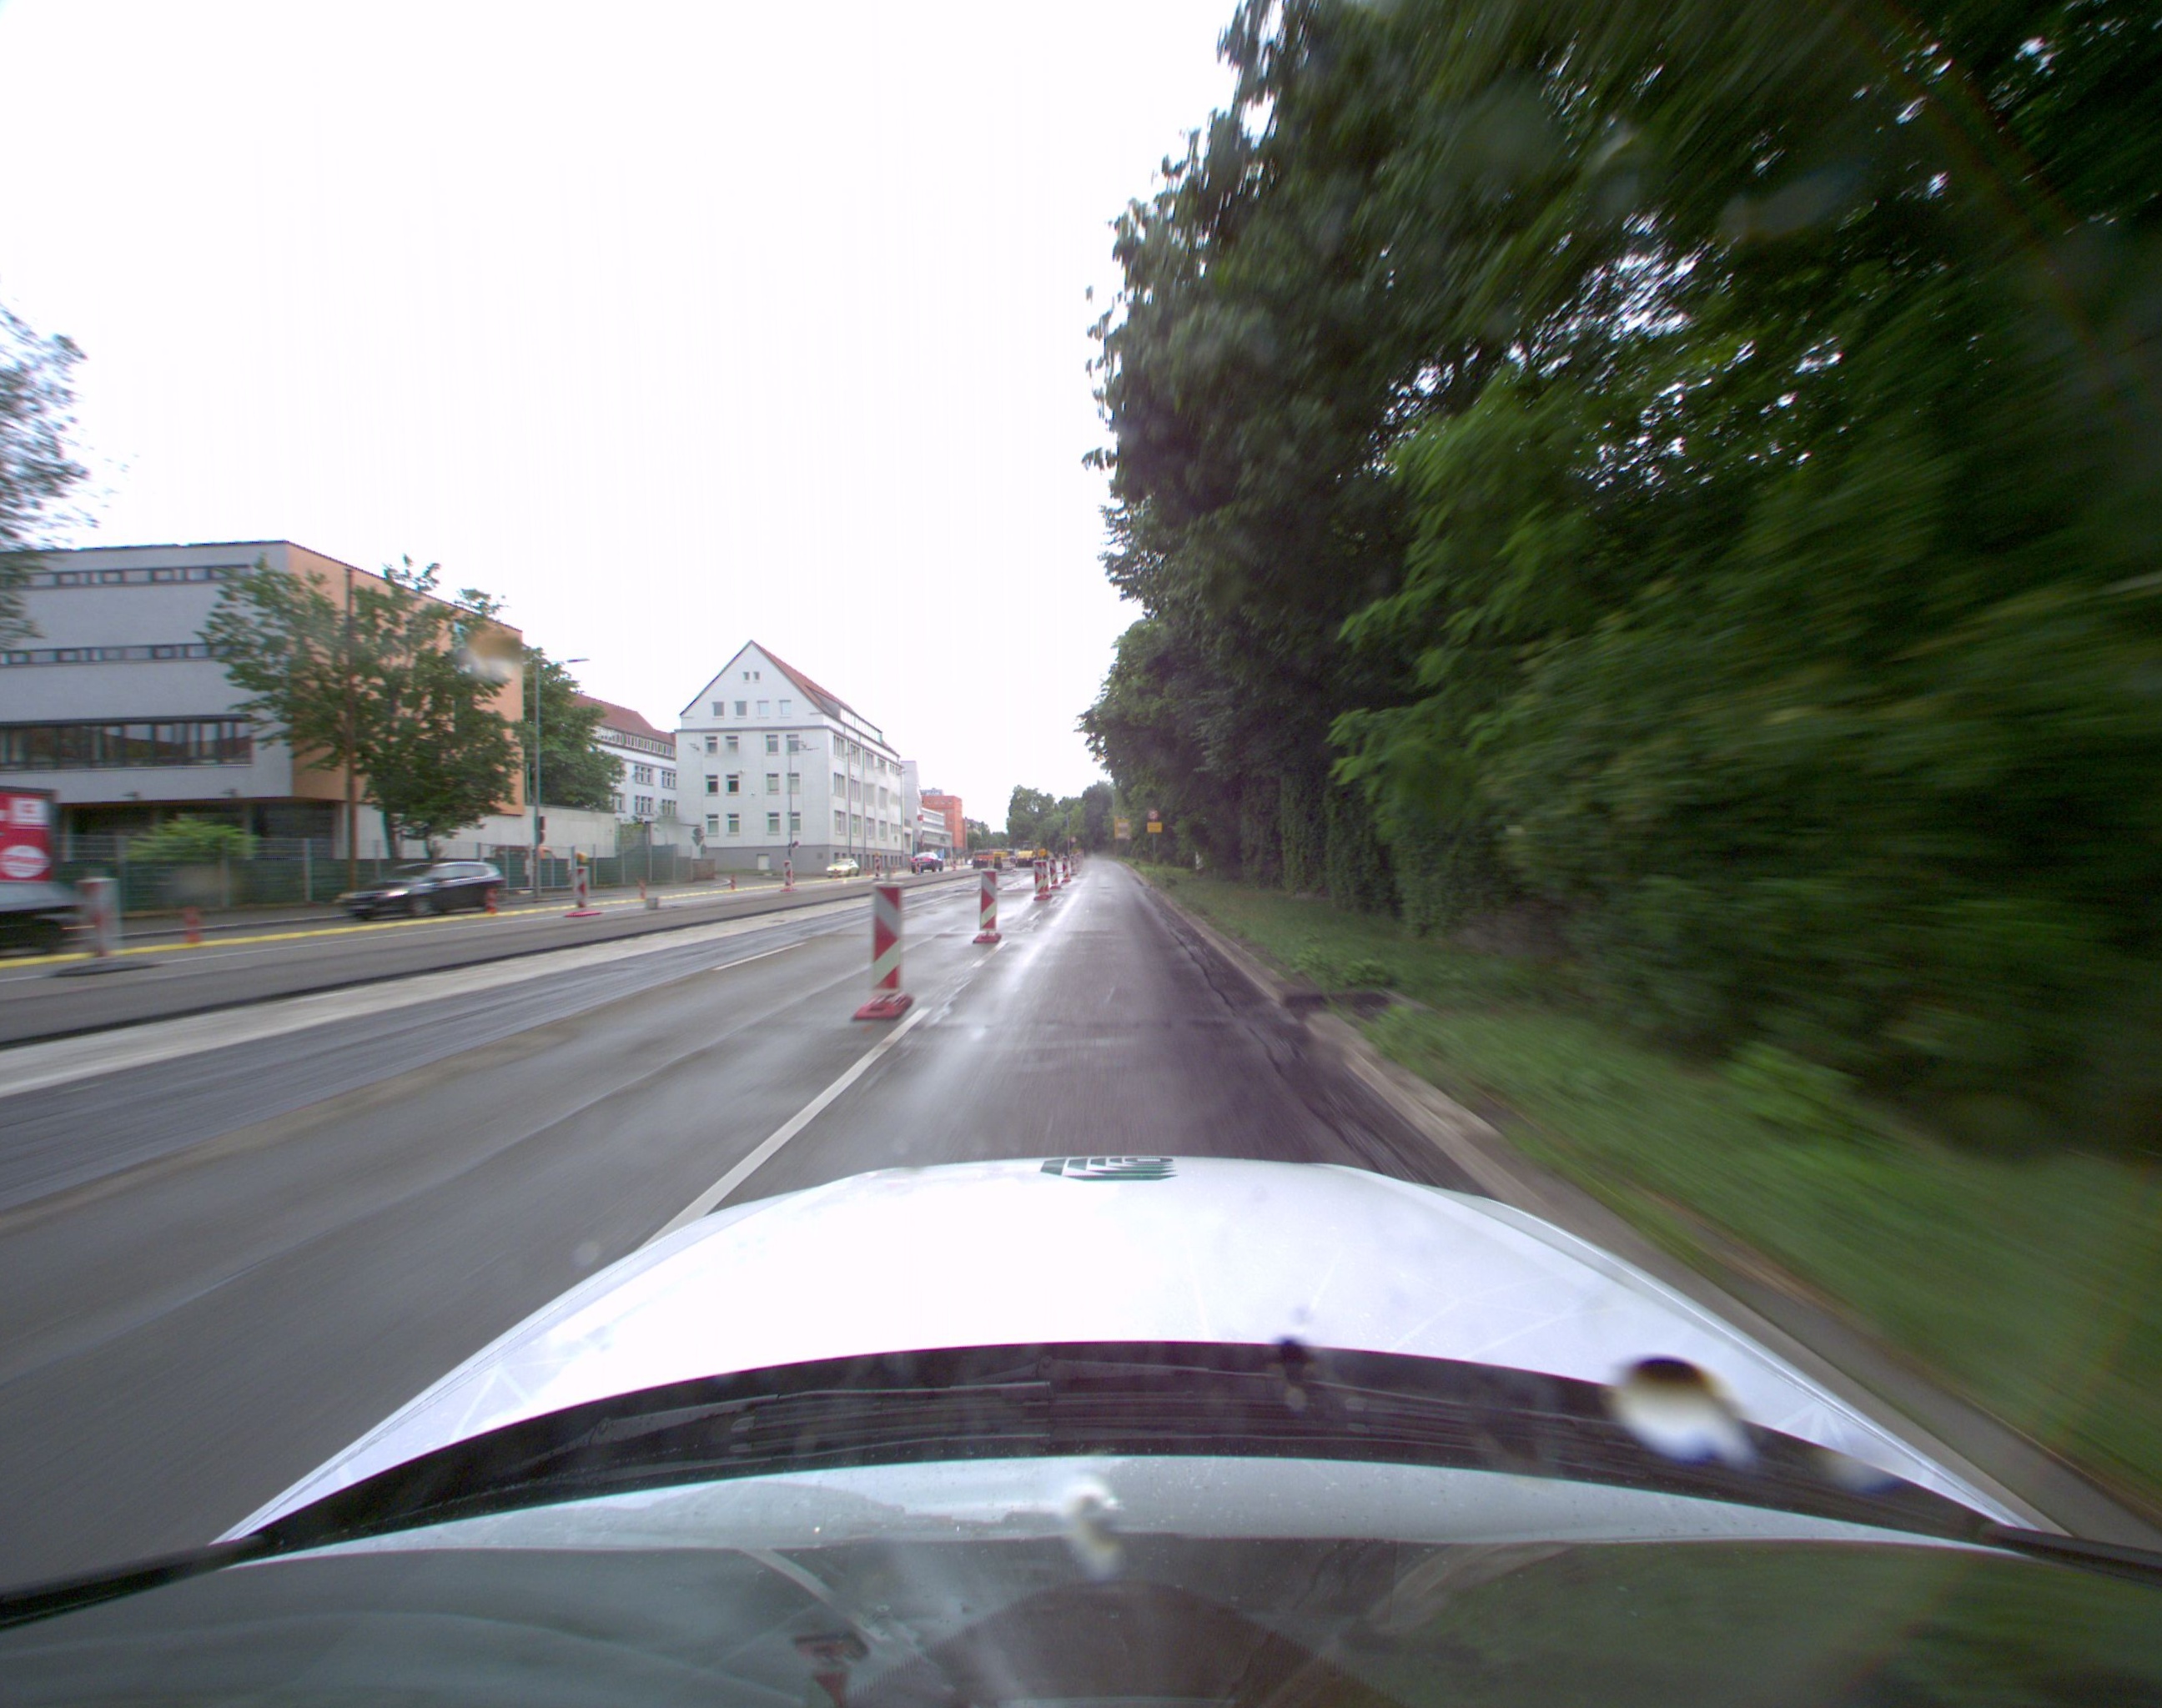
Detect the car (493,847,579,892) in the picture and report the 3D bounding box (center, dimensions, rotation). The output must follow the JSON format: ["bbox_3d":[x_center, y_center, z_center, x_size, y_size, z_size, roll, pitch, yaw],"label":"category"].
[{"bbox_3d":[-27.704,0.760,41.567,1.604,2.170,4.001,-1,0,1],"label":"car"}]

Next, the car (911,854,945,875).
[{"bbox_3d":[-12.977,0.861,69.394,1.885,1.650,4.398,-1,0,2],"label":"car"}]

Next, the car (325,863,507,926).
[{"bbox_3d":[-20.291,1.164,25.132,1.852,1.630,4.331,-4,0,2],"label":"car"}]

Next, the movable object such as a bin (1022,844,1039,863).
[{"bbox_3d":[-5.586,-0.067,90.872,1.357,2.090,5.031,-2,0,1],"label":"movable object such as a bin"}]

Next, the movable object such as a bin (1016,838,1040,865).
[{"bbox_3d":[-5.514,-0.270,84.881,1.895,2.609,5.385,-2,0,1],"label":"movable object such as a bin"}]

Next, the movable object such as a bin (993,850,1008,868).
[{"bbox_3d":[-7.529,0.454,76.634,1.079,1.644,2.439,-1,0,1],"label":"movable object such as a bin"}]

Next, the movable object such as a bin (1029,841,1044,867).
[{"bbox_3d":[-5.433,0.013,100.425,1.461,3.008,3.724,-4,0,0],"label":"movable object such as a bin"}]

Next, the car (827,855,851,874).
[{"bbox_3d":[-19.408,0.835,65.304,1.559,1.368,3.779,-3,0,-20],"label":"car"}]

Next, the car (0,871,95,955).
[{"bbox_3d":[-20.309,1.117,14.080,1.852,1.475,3.734,-4,0,2],"label":"car"}]
